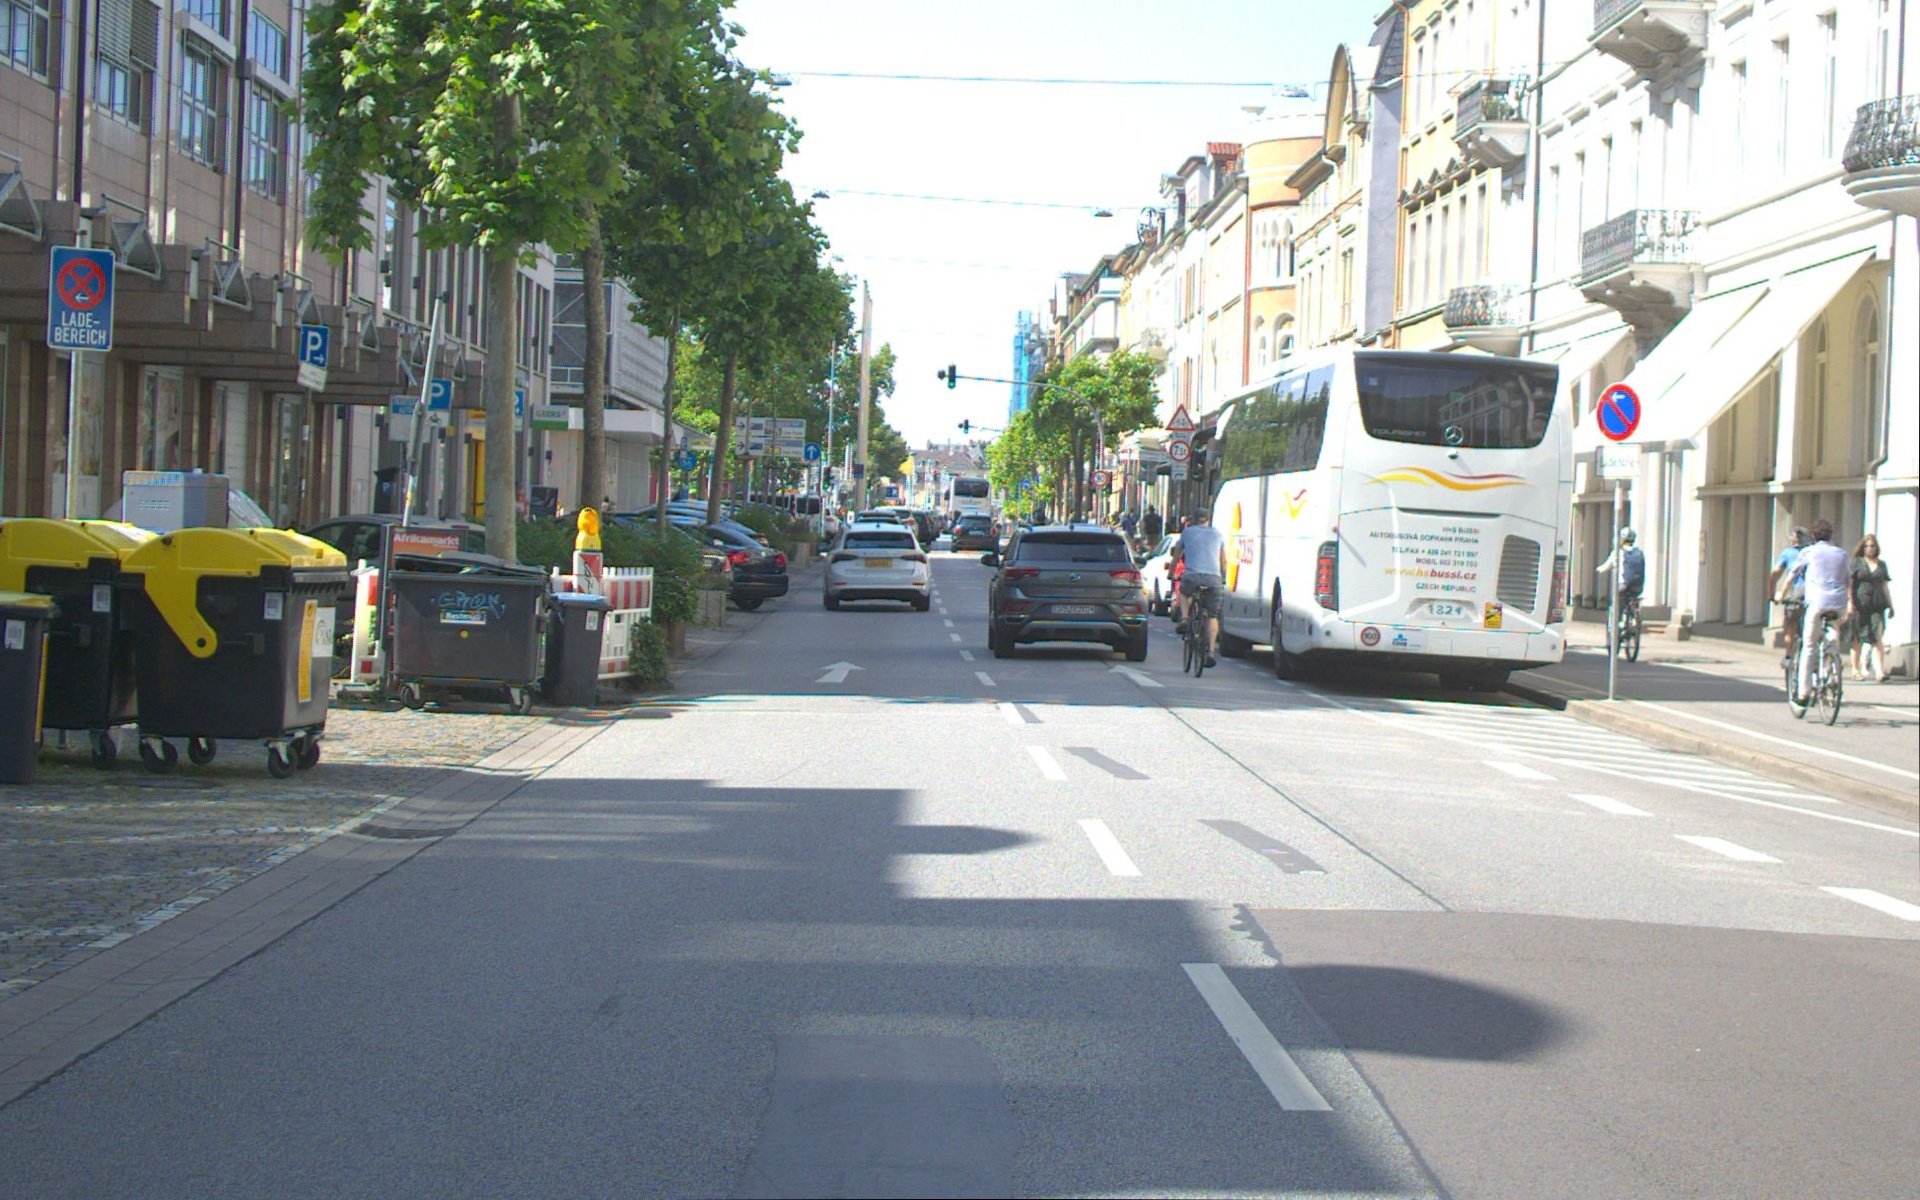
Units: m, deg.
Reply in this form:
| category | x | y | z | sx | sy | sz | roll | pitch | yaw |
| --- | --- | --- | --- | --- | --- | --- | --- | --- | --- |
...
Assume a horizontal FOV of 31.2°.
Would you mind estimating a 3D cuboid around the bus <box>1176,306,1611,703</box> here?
| category | x | y | z | sx | sy | sz | roll | pitch | yaw |
| --- | --- | --- | --- | --- | --- | --- | --- | --- | --- |
| bus | 4.665 | -1.112 | 40.120 | 2.881 | 3.729 | 12.428 | 4 | 1 | -2 |

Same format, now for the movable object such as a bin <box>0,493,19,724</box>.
| category | x | y | z | sx | sy | sz | roll | pitch | yaw |
| --- | --- | --- | --- | --- | --- | --- | --- | --- | --- |
| movable object such as a bin | -6.616 | 0.040 | 21.007 | 1.209 | 1.445 | 1.364 | 4 | 2 | 5 |

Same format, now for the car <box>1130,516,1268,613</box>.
| category | x | y | z | sx | sy | sz | roll | pitch | yaw |
| --- | --- | --- | --- | --- | --- | --- | --- | --- | --- |
| car | 4.231 | -0.664 | 61.516 | 1.813 | 1.461 | 4.581 | 3 | 2 | -3 |

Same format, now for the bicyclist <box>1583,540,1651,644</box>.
| category | x | y | z | sx | sy | sz | roll | pitch | yaw |
| --- | --- | --- | --- | --- | --- | --- | --- | --- | --- |
| bicyclist | 8.386 | -0.111 | 43.912 | 0.620 | 1.292 | 0.867 | 2 | 1 | -2 |

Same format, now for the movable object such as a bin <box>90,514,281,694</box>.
| category | x | y | z | sx | sy | sz | roll | pitch | yaw |
| --- | --- | --- | --- | --- | --- | --- | --- | --- | --- |
| movable object such as a bin | -6.118 | 0.020 | 27.218 | 1.209 | 1.295 | 1.080 | 4 | 3 | -1 |

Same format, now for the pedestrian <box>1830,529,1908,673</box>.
| category | x | y | z | sx | sy | sz | roll | pitch | yaw |
| --- | --- | --- | --- | --- | --- | --- | --- | --- | --- |
| pedestrian | 10.406 | 0.009 | 39.386 | 0.645 | 1.612 | 0.822 | 2 | 0 | 2 |

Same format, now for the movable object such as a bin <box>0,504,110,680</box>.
| category | x | y | z | sx | sy | sz | roll | pitch | yaw |
| --- | --- | --- | --- | --- | --- | --- | --- | --- | --- |
| movable object such as a bin | -7.513 | -0.085 | 27.247 | 1.209 | 1.295 | 1.127 | 4 | 2 | -1 |

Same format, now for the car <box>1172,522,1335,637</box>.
| category | x | y | z | sx | sy | sz | roll | pitch | yaw |
| --- | --- | --- | --- | --- | --- | --- | --- | --- | --- |
| car | 4.251 | -0.350 | 50.522 | 1.859 | 1.464 | 5.226 | 4 | 2 | 0 |

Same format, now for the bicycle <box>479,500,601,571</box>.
| category | x | y | z | sx | sy | sz | roll | pitch | yaw |
| --- | --- | --- | --- | --- | --- | --- | --- | --- | --- |
| bicycle | -7.667 | -1.174 | 62.780 | 2.065 | 1.126 | 0.618 | 4 | 1 | 0 |

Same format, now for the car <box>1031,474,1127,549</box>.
| category | x | y | z | sx | sy | sz | roll | pitch | yaw |
| --- | --- | --- | --- | --- | --- | --- | --- | --- | --- |
| car | 2.554 | -1.893 | 74.420 | 1.833 | 1.522 | 4.000 | 0 | 0 | -1 |

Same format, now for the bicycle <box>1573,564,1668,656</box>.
| category | x | y | z | sx | sy | sz | roll | pitch | yaw |
| --- | --- | --- | --- | --- | --- | --- | --- | --- | --- |
| bicycle | 8.392 | 0.115 | 43.782 | 0.620 | 1.095 | 2.353 | 2 | 1 | -2 |

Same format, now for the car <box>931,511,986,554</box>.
| category | x | y | z | sx | sy | sz | roll | pitch | yaw |
| --- | --- | --- | --- | --- | --- | --- | --- | --- | --- |
| car | -0.069 | -2.429 | 123.418 | 1.863 | 1.436 | 4.001 | 2 | 2 | -1 |

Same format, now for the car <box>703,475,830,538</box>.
| category | x | y | z | sx | sy | sz | roll | pitch | yaw |
| --- | --- | --- | --- | --- | --- | --- | --- | --- | --- |
| car | -7.523 | -3.636 | 133.479 | 4.720 | 1.996 | 1.937 | 7 | 1 | 39 |

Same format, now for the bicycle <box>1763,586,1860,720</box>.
| category | x | y | z | sx | sy | sz | roll | pitch | yaw |
| --- | --- | --- | --- | --- | --- | --- | --- | --- | --- |
| bicycle | 7.688 | 0.459 | 31.087 | 0.594 | 1.116 | 1.800 | 2 | 2 | 7 |

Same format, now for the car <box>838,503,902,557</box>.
| category | x | y | z | sx | sy | sz | roll | pitch | yaw |
| --- | --- | --- | --- | --- | --- | --- | --- | --- | --- |
| car | -2.551 | -2.003 | 97.651 | 1.743 | 1.436 | 4.001 | 2 | 2 | -1 |

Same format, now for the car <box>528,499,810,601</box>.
| category | x | y | z | sx | sy | sz | roll | pitch | yaw |
| --- | --- | --- | --- | --- | --- | --- | --- | --- | --- |
| car | -4.996 | -0.859 | 58.596 | 4.793 | 1.417 | 1.879 | 5 | 3 | 39 |

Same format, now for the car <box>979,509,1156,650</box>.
| category | x | y | z | sx | sy | sz | roll | pitch | yaw |
| --- | --- | --- | --- | --- | --- | --- | --- | --- | --- |
| car | 1.224 | -0.273 | 40.725 | 1.833 | 1.522 | 4.000 | 2 | 1 | -1 |

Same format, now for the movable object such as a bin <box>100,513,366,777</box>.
| category | x | y | z | sx | sy | sz | roll | pitch | yaw |
| --- | --- | --- | --- | --- | --- | --- | --- | --- | --- |
| movable object such as a bin | -4.348 | 0.242 | 20.683 | 1.124 | 1.445 | 1.438 | 4 | 2 | 5 |

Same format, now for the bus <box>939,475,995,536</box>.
| category | x | y | z | sx | sy | sz | roll | pitch | yaw |
| --- | --- | --- | --- | --- | --- | --- | --- | --- | --- |
| bus | 0.397 | -5.867 | 212.371 | 2.769 | 3.592 | 8.976 | 1 | 2 | -4 |

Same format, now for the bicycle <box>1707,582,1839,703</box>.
| category | x | y | z | sx | sy | sz | roll | pitch | yaw |
| --- | --- | --- | --- | --- | --- | --- | --- | --- | --- |
| bicycle | 8.058 | 0.404 | 34.178 | 0.620 | 1.095 | 2.353 | 2 | 1 | -2 |

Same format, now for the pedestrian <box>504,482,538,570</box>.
| category | x | y | z | sx | sy | sz | roll | pitch | yaw |
| --- | --- | --- | --- | --- | --- | --- | --- | --- | --- |
| pedestrian | -8.325 | -1.401 | 65.183 | 0.565 | 1.651 | 0.637 | 2 | 1 | -6 |

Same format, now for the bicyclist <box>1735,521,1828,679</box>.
| category | x | y | z | sx | sy | sz | roll | pitch | yaw |
| --- | --- | --- | --- | --- | --- | --- | --- | --- | --- |
| bicyclist | 8.149 | -0.009 | 34.122 | 0.620 | 1.524 | 0.869 | 2 | 1 | -2 |

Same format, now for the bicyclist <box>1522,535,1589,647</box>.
| category | x | y | z | sx | sy | sz | roll | pitch | yaw |
| --- | --- | --- | --- | --- | --- | --- | --- | --- | --- |
| bicyclist | 7.476 | -0.118 | 43.215 | 0.620 | 1.366 | 0.780 | 2 | 1 | -2 |

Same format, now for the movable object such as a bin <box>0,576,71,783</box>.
| category | x | y | z | sx | sy | sz | roll | pitch | yaw |
| --- | --- | --- | --- | --- | --- | --- | --- | --- | --- |
| movable object such as a bin | -5.419 | 0.429 | 19.268 | 0.722 | 1.094 | 0.657 | 3 | 2 | -8 |

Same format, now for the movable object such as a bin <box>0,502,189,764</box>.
| category | x | y | z | sx | sy | sz | roll | pitch | yaw |
| --- | --- | --- | --- | --- | --- | --- | --- | --- | --- |
| movable object such as a bin | -5.470 | 0.173 | 20.781 | 1.124 | 1.445 | 1.438 | 4 | 2 | 5 |

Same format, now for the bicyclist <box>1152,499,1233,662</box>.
| category | x | y | z | sx | sy | sz | roll | pitch | yaw |
| --- | --- | --- | --- | --- | --- | --- | --- | --- | --- |
| bicyclist | 2.487 | -0.215 | 36.894 | 0.694 | 1.667 | 0.916 | 4 | 3 | 0 |

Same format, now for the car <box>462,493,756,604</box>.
| category | x | y | z | sx | sy | sz | roll | pitch | yaw |
| --- | --- | --- | --- | --- | --- | --- | --- | --- | --- |
| car | -5.712 | -0.848 | 55.612 | 4.754 | 1.528 | 1.985 | 4 | 2 | 42 |

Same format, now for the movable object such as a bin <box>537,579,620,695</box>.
| category | x | y | z | sx | sy | sz | roll | pitch | yaw |
| --- | --- | --- | --- | --- | --- | --- | --- | --- | --- |
| movable object such as a bin | -3.211 | 0.306 | 28.947 | 0.553 | 0.936 | 0.500 | -1 | 2 | -26 |

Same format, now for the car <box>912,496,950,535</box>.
| category | x | y | z | sx | sy | sz | roll | pitch | yaw |
| --- | --- | --- | --- | --- | --- | --- | --- | --- | --- |
| car | -1.493 | -4.293 | 175.360 | 1.863 | 1.843 | 4.000 | 1 | 0 | -1 |

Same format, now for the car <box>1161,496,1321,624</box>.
| category | x | y | z | sx | sy | sz | roll | pitch | yaw |
| --- | --- | --- | --- | --- | --- | --- | --- | --- | --- |
| car | 4.526 | -0.689 | 56.056 | 1.827 | 1.857 | 4.355 | 3 | 2 | -4 |

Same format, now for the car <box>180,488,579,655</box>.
| category | x | y | z | sx | sy | sz | roll | pitch | yaw |
| --- | --- | --- | --- | --- | --- | --- | --- | --- | --- |
| car | -6.118 | -0.318 | 36.034 | 4.055 | 1.489 | 1.931 | 5 | 3 | 40 |

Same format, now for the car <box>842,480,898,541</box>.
| category | x | y | z | sx | sy | sz | roll | pitch | yaw |
| --- | --- | --- | --- | --- | --- | --- | --- | --- | --- |
| car | -3.206 | -3.161 | 122.109 | 1.863 | 2.023 | 4.000 | 2 | 0 | -2 |

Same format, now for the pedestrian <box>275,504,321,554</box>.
| category | x | y | z | sx | sy | sz | roll | pitch | yaw |
| --- | --- | --- | --- | --- | --- | --- | --- | --- | --- |
| pedestrian | -11.529 | -1.239 | 59.906 | 0.566 | 0.806 | 0.774 | 7 | 2 | -1 |

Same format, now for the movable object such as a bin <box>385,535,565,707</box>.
| category | x | y | z | sx | sy | sz | roll | pitch | yaw |
| --- | --- | --- | --- | --- | --- | --- | --- | --- | --- |
| movable object such as a bin | -3.855 | 0.155 | 27.407 | 1.277 | 1.295 | 0.853 | 2 | 1 | -1 |

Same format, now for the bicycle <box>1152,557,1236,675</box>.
| category | x | y | z | sx | sy | sz | roll | pitch | yaw |
| --- | --- | --- | --- | --- | --- | --- | --- | --- | --- |
| bicycle | 2.499 | 0.152 | 36.897 | 0.664 | 1.116 | 2.243 | 4 | 2 | -1 |

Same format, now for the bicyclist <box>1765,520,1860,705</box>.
| category | x | y | z | sx | sy | sz | roll | pitch | yaw |
| --- | --- | --- | --- | --- | --- | --- | --- | --- | --- |
| bicyclist | 7.636 | 0.100 | 30.829 | 0.694 | 1.620 | 0.835 | 2 | 1 | 8 |

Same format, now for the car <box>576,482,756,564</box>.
| category | x | y | z | sx | sy | sz | roll | pitch | yaw |
| --- | --- | --- | --- | --- | --- | --- | --- | --- | --- |
| car | -6.830 | -1.793 | 79.916 | 3.986 | 1.495 | 1.718 | 6 | 1 | -5 |

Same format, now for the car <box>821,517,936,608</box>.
| category | x | y | z | sx | sy | sz | roll | pitch | yaw |
| --- | --- | --- | --- | --- | --- | --- | --- | --- | --- |
| car | -1.386 | -0.652 | 58.808 | 1.863 | 1.436 | 4.000 | 2 | 1 | -1 |

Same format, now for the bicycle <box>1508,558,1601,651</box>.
| category | x | y | z | sx | sy | sz | roll | pitch | yaw |
| --- | --- | --- | --- | --- | --- | --- | --- | --- | --- |
| bicycle | 7.471 | 0.045 | 43.272 | 0.620 | 1.095 | 2.353 | 2 | 1 | -2 |

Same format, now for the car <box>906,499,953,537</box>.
| category | x | y | z | sx | sy | sz | roll | pitch | yaw |
| --- | --- | --- | --- | --- | --- | --- | --- | --- | --- |
| car | -1.268 | -3.389 | 141.888 | 1.863 | 1.436 | 4.000 | 1 | 0 | -1 |
